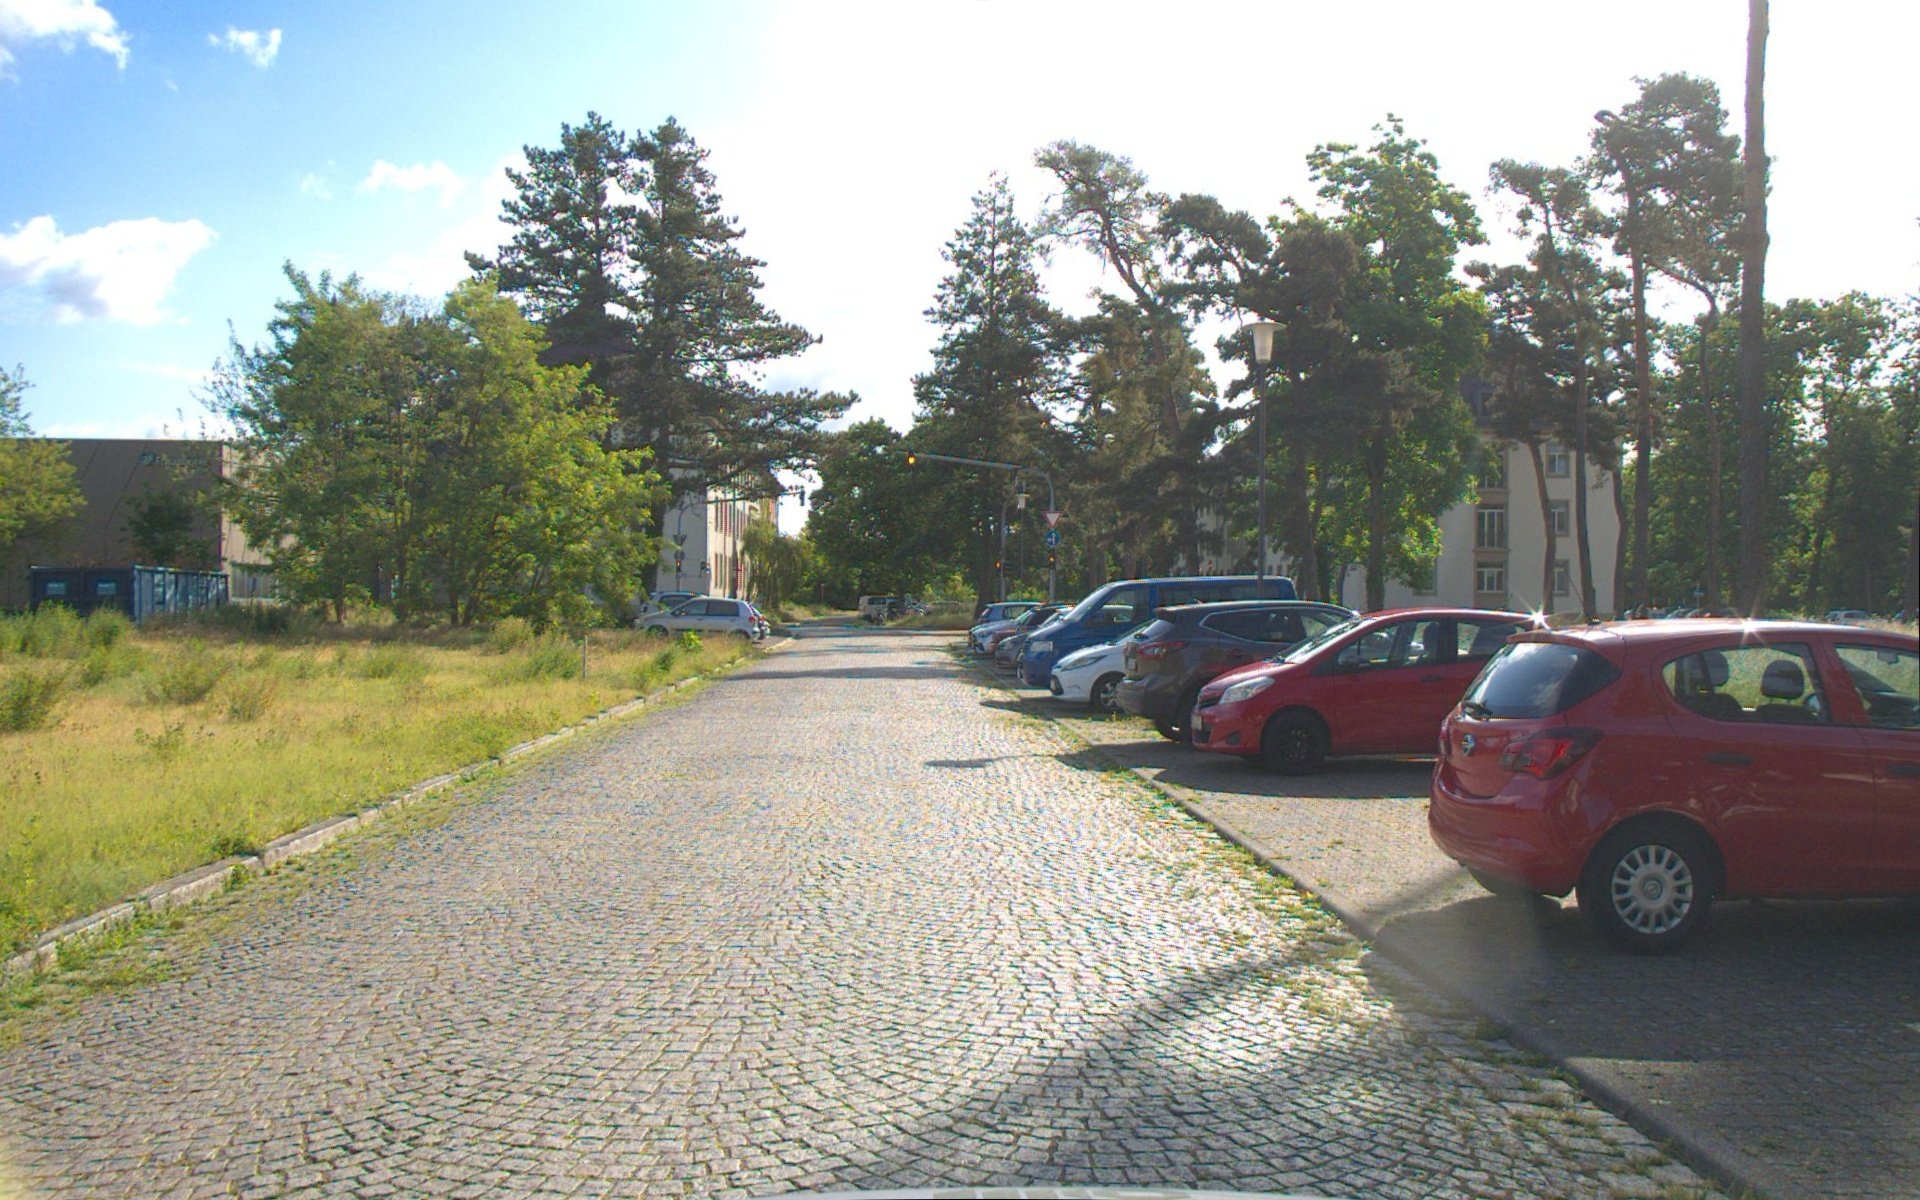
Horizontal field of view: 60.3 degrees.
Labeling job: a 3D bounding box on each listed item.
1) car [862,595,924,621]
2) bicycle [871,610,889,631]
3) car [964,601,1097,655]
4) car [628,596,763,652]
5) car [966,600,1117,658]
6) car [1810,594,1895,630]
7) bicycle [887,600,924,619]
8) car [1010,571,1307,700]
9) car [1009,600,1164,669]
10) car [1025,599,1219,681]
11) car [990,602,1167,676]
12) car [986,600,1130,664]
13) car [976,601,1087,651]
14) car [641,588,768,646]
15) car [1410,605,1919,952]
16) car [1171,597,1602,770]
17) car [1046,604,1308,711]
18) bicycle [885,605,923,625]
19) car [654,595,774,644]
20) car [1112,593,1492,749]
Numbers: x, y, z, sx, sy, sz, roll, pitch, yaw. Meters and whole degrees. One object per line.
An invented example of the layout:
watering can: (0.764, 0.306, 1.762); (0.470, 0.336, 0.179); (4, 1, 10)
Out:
car: (-4.773, 0.596, 117.377); (4.392, 1.758, 1.999); (1, 0, -4)
bicycle: (-4.667, 1.172, 96.342); (0.789, 1.190, 2.176); (-2, 0, -9)
car: (2.039, 0.807, 48.583); (3.760, 1.556, 1.644); (0, 0, -5)
car: (-7.932, 0.710, 49.893); (3.910, 1.628, 1.998); (0, 0, -6)
car: (2.233, 0.785, 45.820); (3.957, 1.556, 1.643); (0, 0, -7)
car: (52.058, 0.690, 96.501); (3.907, 2.049, 1.999); (0, 0, -3)
bicycle: (-3.342, 0.579, 101.077); (2.135, 1.119, 0.804); (1, 0, -13)
car: (3.250, 0.571, 27.645); (4.587, 2.049, 2.081); (0, 0, -6)
car: (2.924, 0.791, 38.620); (3.409, 1.556, 1.644); (0, 0, -5)
car: (3.174, 0.774, 32.822); (3.620, 1.491, 1.645); (-2, 0, -3)
car: (2.519, 0.819, 35.676); (3.603, 1.493, 1.644); (-1, 0, -5)
car: (2.412, 0.786, 41.286); (3.409, 1.556, 1.644); (0, 0, -5)
car: (2.199, 0.785, 51.235); (3.278, 1.508, 1.644); (0, 0, -5)
car: (-8.484, 0.561, 55.258); (3.908, 1.629, 1.999); (4, 0, -4)
car: (4.376, 0.793, 8.321); (3.751, 1.504, 1.644); (-1, 0, -4)
car: (4.013, 0.762, 15.899); (3.688, 1.557, 1.644); (0, 0, -5)
car: (3.223, 0.829, 24.961); (3.647, 1.514, 1.643); (0, 0, -6)
bicycle: (-3.382, 0.905, 99.964); (2.135, 1.119, 0.804); (1, 0, -13)
car: (-8.540, 0.665, 57.657); (3.908, 1.478, 1.999); (3, 0, -4)
car: (3.756, 0.757, 18.566); (3.858, 1.650, 1.770); (0, 0, -5)
